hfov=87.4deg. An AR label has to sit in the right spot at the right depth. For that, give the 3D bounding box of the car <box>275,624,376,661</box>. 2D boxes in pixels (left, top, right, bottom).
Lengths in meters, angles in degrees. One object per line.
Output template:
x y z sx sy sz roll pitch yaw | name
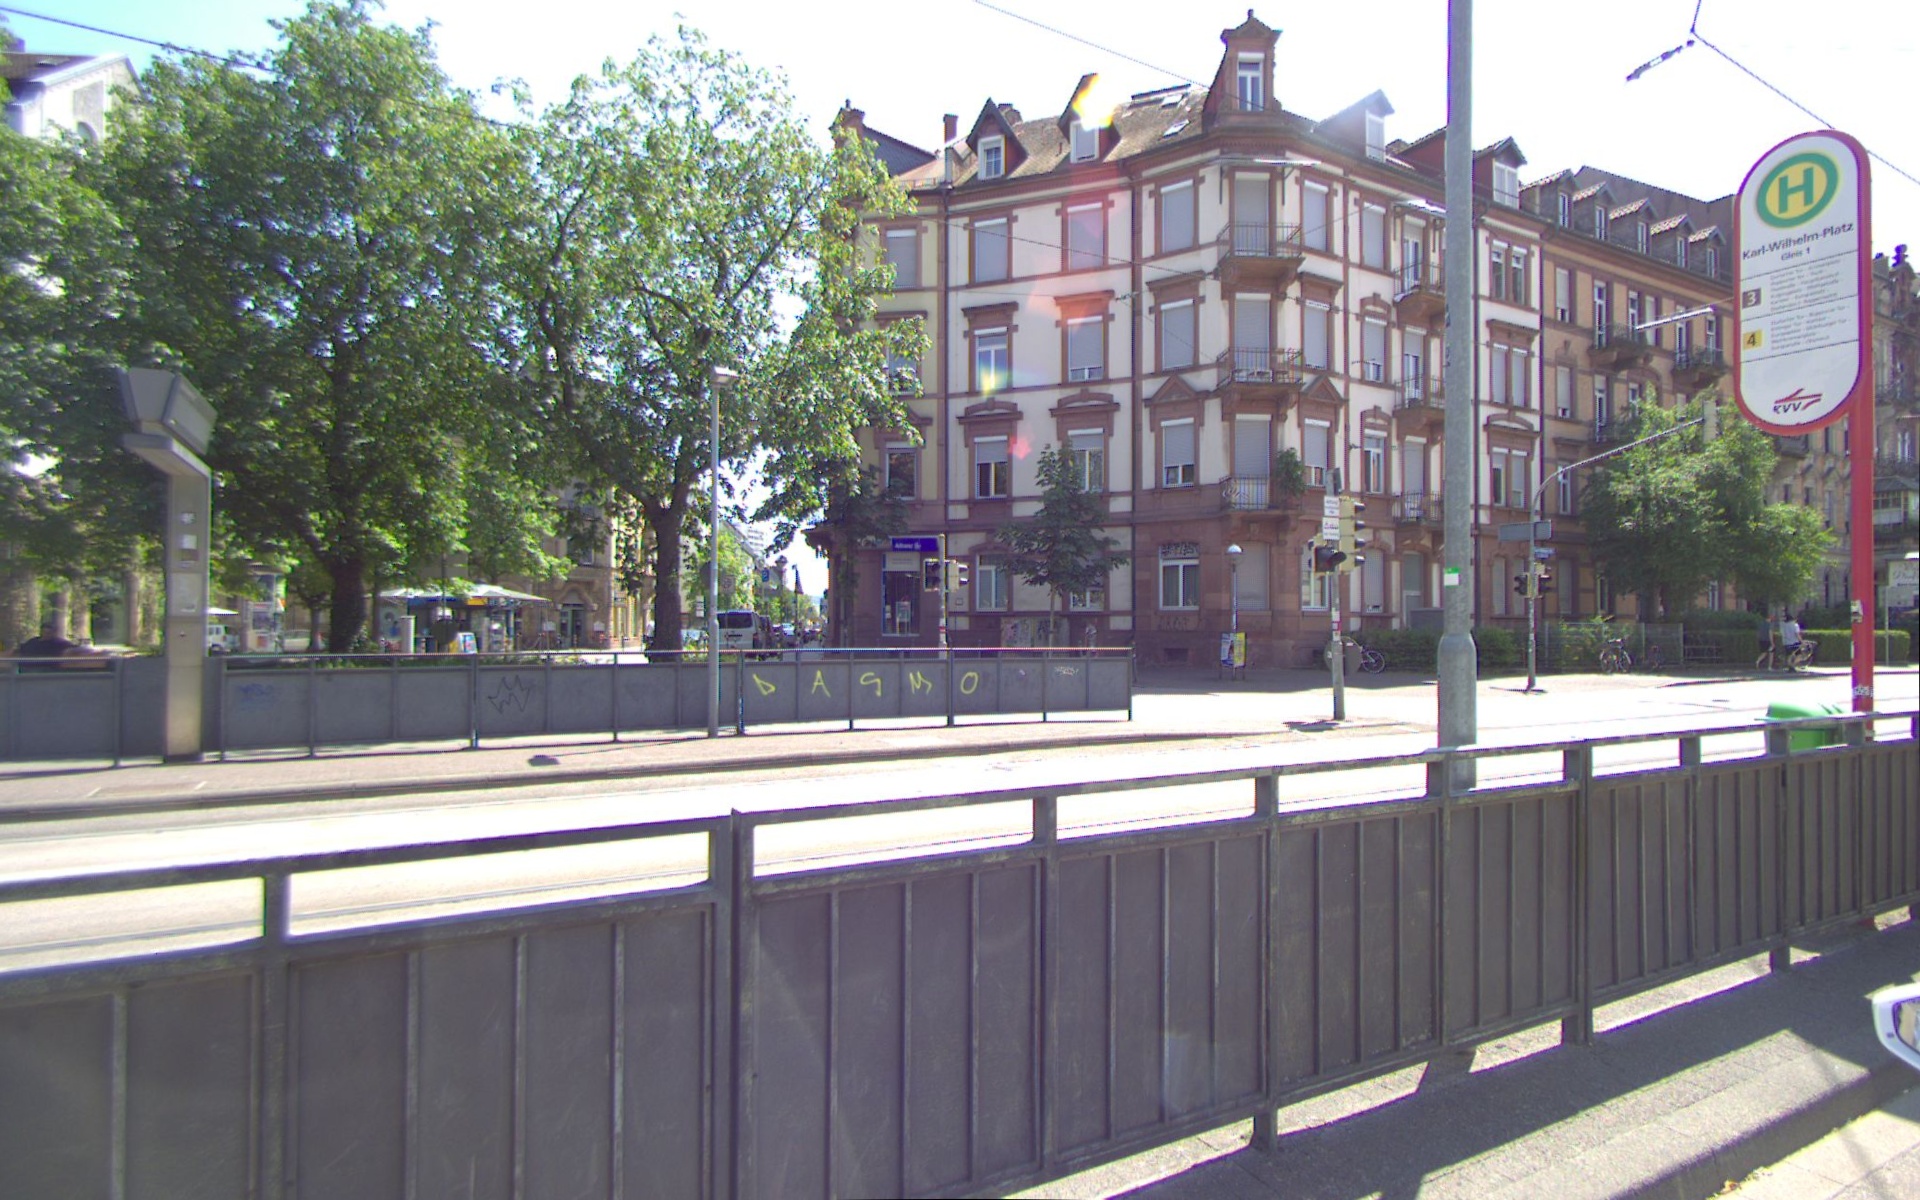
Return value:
-32.076 2.150 50.898 3.920 1.730 1.761 2 0 -14 | car

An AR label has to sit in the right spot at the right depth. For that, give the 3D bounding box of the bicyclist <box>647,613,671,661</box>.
-10.357 1.258 34.608 0.687 1.613 0.848 1 -1 -11 | bicyclist

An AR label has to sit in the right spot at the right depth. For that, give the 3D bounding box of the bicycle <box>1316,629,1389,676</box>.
11.664 1.554 29.868 1.923 1.312 0.564 2 0 11 | bicycle

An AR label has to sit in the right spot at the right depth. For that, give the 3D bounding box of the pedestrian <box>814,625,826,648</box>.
-9.701 2.524 69.612 0.742 1.632 0.688 0 -1 -4 | pedestrian

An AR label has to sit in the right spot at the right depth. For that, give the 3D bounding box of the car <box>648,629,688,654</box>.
-20.658 2.907 71.170 1.846 1.617 3.998 2 0 -4 | car

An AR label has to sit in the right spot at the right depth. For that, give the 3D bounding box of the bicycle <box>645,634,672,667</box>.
-10.359 1.735 34.585 0.687 1.070 1.763 1 -1 -10 | bicycle

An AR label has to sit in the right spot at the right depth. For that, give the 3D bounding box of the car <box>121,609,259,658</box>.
-31.189 1.359 40.823 3.932 1.814 1.994 2 0 -14 | car

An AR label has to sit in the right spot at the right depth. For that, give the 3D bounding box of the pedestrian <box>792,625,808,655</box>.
-8.838 2.221 55.515 0.790 1.632 0.731 0 -1 -4 | pedestrian

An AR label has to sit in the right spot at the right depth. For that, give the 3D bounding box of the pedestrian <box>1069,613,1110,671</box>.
3.908 1.261 30.305 1.042 1.712 0.722 -1 -1 24 | pedestrian

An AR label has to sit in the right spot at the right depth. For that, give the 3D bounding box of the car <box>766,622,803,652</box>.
-10.372 2.169 59.460 1.684 1.617 3.998 2 0 -4 | car

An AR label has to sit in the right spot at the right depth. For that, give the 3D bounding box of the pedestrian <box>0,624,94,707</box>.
-14.661 1.038 16.112 0.925 1.261 0.860 2 0 -24 | pedestrian

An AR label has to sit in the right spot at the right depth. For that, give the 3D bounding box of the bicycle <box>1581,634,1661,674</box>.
20.228 1.642 30.721 2.742 1.151 0.932 2 0 -31 | bicycle

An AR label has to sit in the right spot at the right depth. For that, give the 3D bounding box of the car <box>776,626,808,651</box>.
-12.482 2.835 74.764 1.962 1.617 3.998 2 0 -4 | car

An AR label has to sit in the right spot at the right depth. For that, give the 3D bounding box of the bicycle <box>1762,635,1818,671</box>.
28.523 1.800 34.492 2.750 1.151 0.930 2 0 -39 | bicycle

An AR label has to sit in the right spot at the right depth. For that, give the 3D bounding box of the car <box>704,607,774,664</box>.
-8.329 1.293 38.223 1.962 1.970 3.998 2 0 -4 | car

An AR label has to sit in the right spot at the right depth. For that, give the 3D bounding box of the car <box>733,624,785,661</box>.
-9.625 2.003 48.295 1.893 1.541 3.998 2 0 -4 | car

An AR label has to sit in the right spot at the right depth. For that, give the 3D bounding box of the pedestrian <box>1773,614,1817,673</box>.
26.673 1.377 32.098 0.863 1.847 0.812 0 1 -29 | pedestrian

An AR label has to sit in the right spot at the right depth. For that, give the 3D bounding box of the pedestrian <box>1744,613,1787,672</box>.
26.254 1.373 32.729 0.863 1.847 0.812 0 1 -29 | pedestrian

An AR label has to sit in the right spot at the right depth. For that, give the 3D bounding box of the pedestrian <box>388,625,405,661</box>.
-26.671 2.027 47.539 0.506 1.692 0.491 0 -1 -8 | pedestrian
